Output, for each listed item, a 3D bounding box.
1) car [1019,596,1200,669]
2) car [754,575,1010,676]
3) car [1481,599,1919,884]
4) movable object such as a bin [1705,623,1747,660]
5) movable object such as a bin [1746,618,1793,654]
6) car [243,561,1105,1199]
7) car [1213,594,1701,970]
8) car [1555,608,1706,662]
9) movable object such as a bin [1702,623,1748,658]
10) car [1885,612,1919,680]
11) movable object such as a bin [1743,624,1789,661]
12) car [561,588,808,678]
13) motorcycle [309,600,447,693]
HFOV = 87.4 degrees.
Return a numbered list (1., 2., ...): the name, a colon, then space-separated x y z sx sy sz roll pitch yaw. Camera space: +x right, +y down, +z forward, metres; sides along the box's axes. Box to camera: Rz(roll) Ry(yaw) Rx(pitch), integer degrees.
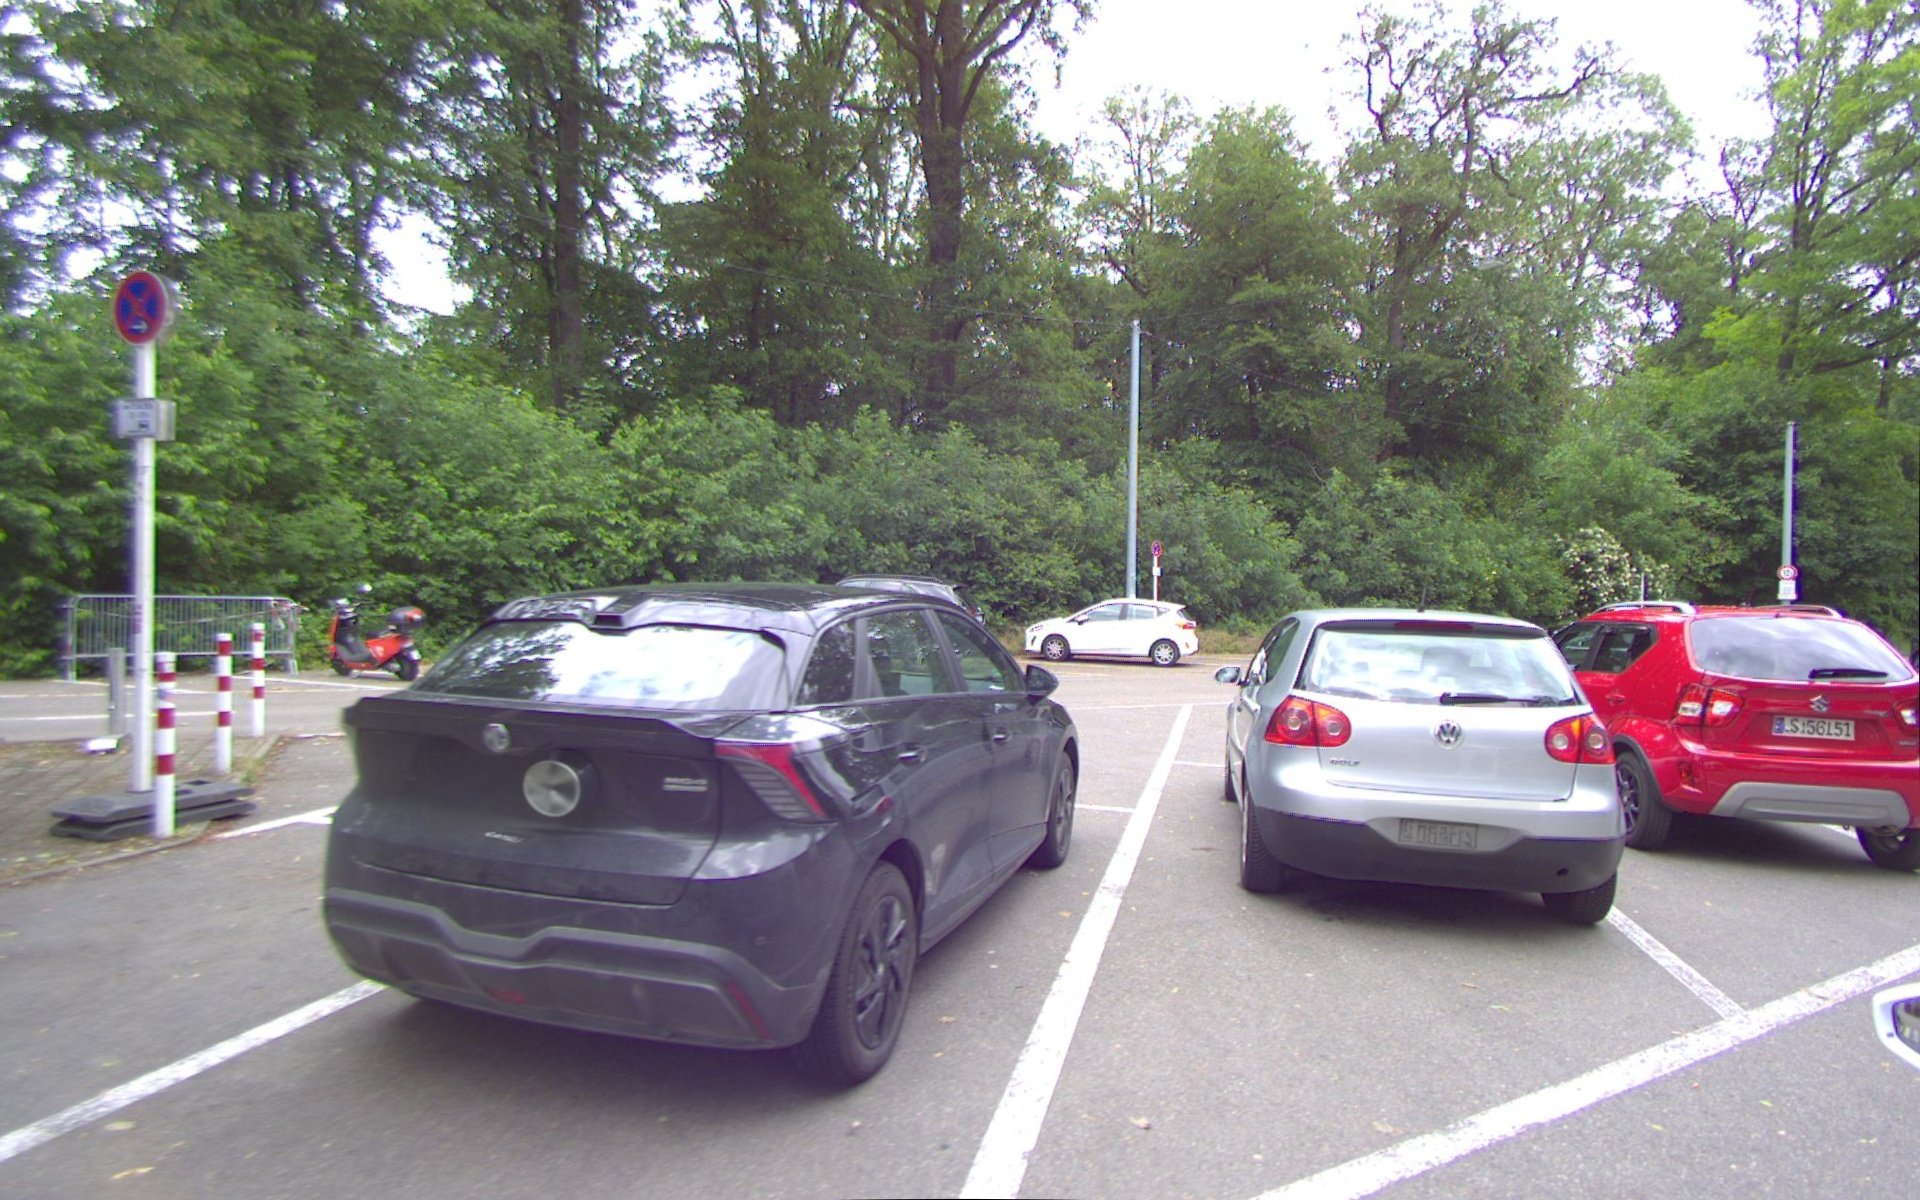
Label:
1. car: 3.522 0.708 23.415 3.920 1.531 1.870 1 0 17
2. car: -1.507 0.458 19.966 4.614 1.790 2.113 1 0 17
3. car: 5.403 0.827 7.646 1.652 1.606 3.656 1 0 13
4. movable object such as a bin: 28.988 1.562 38.015 1.107 1.332 1.182 1 0 31
5. movable object such as a bin: 31.412 1.398 38.998 1.138 1.342 1.242 1 0 -41
6. car: -0.603 0.703 4.619 1.794 1.543 4.101 2 0 18
7. car: 2.588 0.766 6.294 1.839 1.503 4.002 2 0 13
8. car: 23.415 1.205 35.265 3.990 1.707 1.880 1 0 17
9. movable object such as a bin: 30.161 1.595 39.605 1.227 1.337 1.116 1 0 -34
10. car: 24.674 1.179 24.131 1.860 1.685 4.002 1 0 14
11. movable object such as a bin: 29.981 1.573 37.380 1.152 1.324 1.310 1 0 31
12. car: -4.910 0.544 18.036 3.920 1.394 1.740 2 0 17
13. motorcycle: -8.413 0.639 14.512 1.992 1.224 0.730 2 0 27
